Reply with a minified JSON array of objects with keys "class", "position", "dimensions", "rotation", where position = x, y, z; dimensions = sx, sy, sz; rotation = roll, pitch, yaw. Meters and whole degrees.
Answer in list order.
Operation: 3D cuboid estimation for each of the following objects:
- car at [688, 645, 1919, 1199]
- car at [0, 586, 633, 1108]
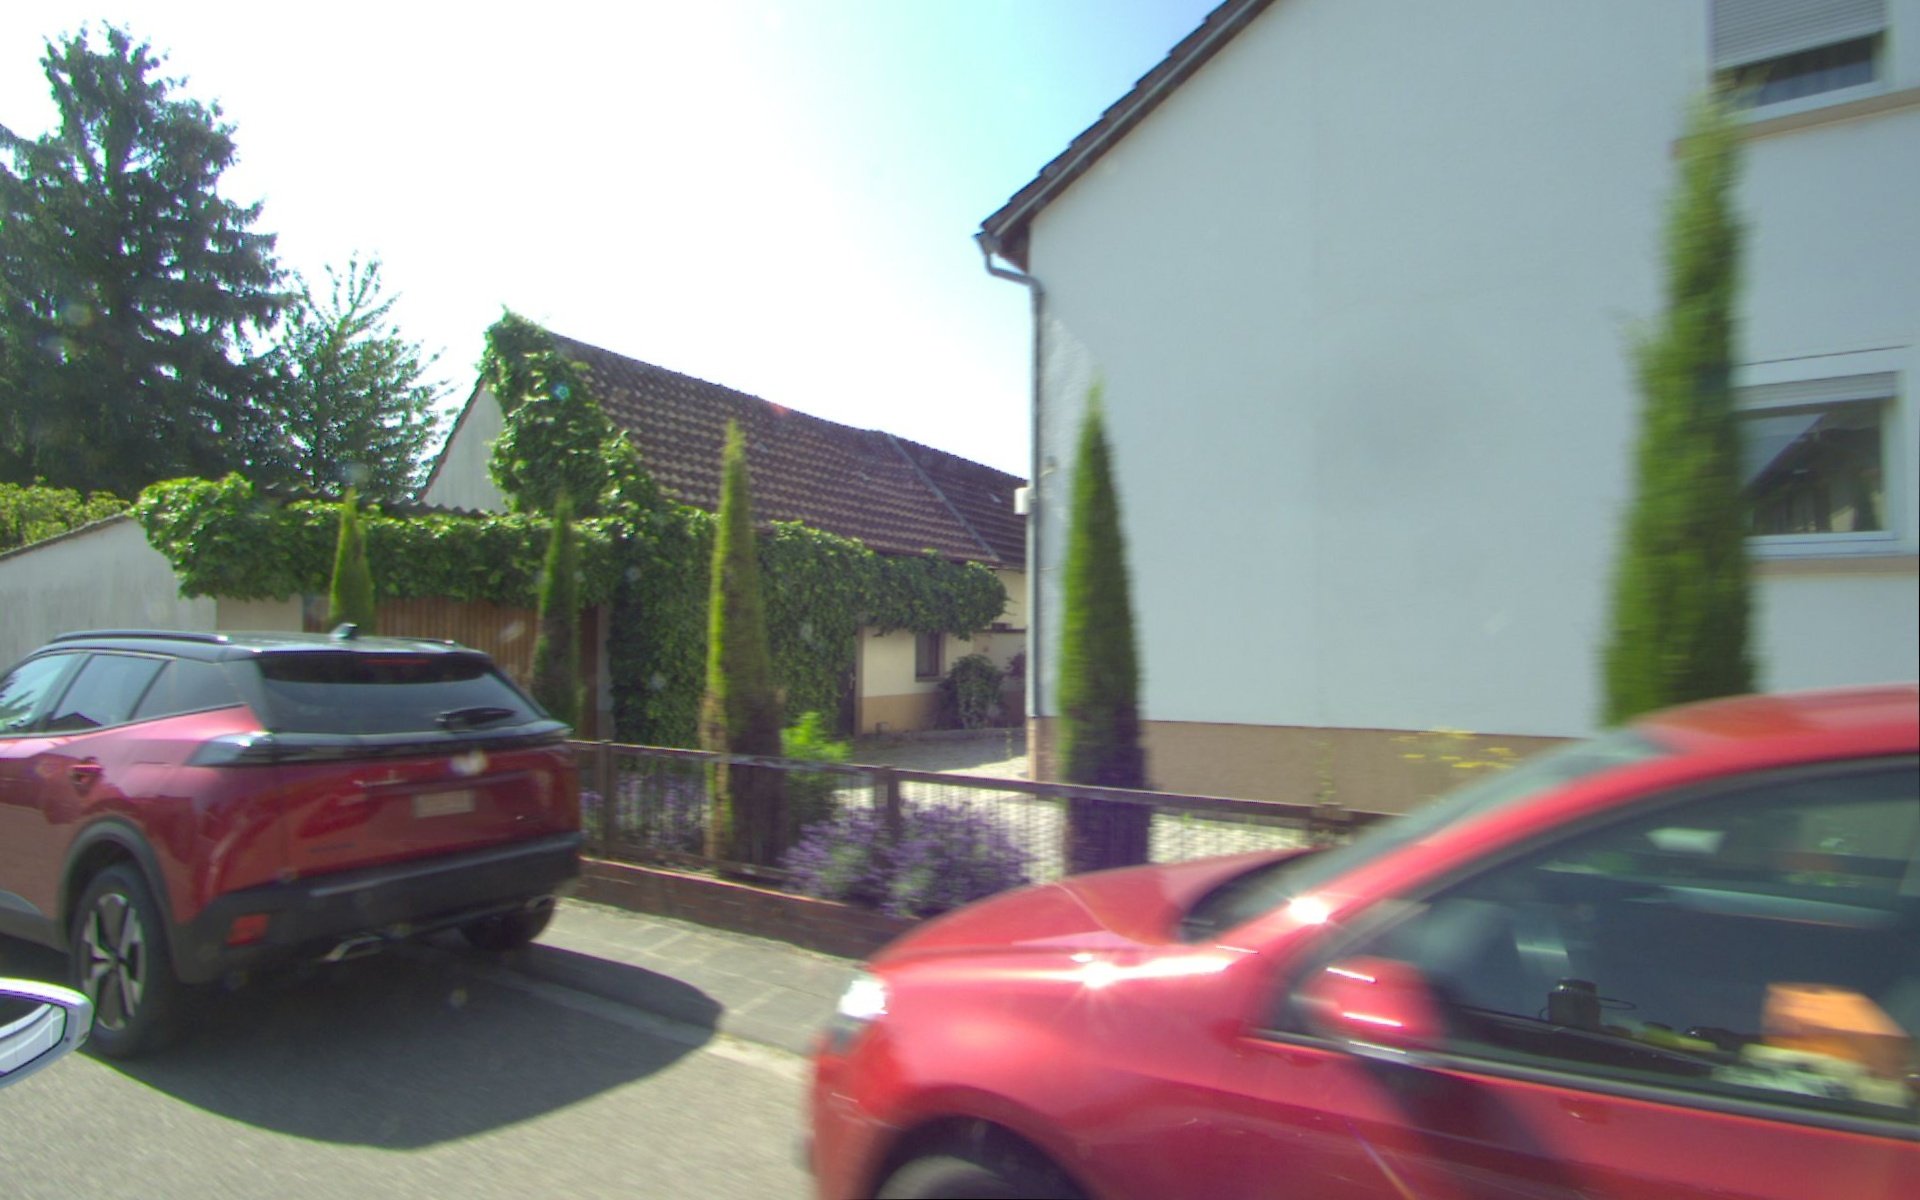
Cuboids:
[{"class":"car","position":[1.543,0.858,1.689],"dimensions":[3.947,1.497,1.772],"rotation":[-2,-4,36]},{"class":"car","position":[-3.720,0.856,4.934],"dimensions":[3.940,1.635,1.822],"rotation":[-1,-3,30]}]
